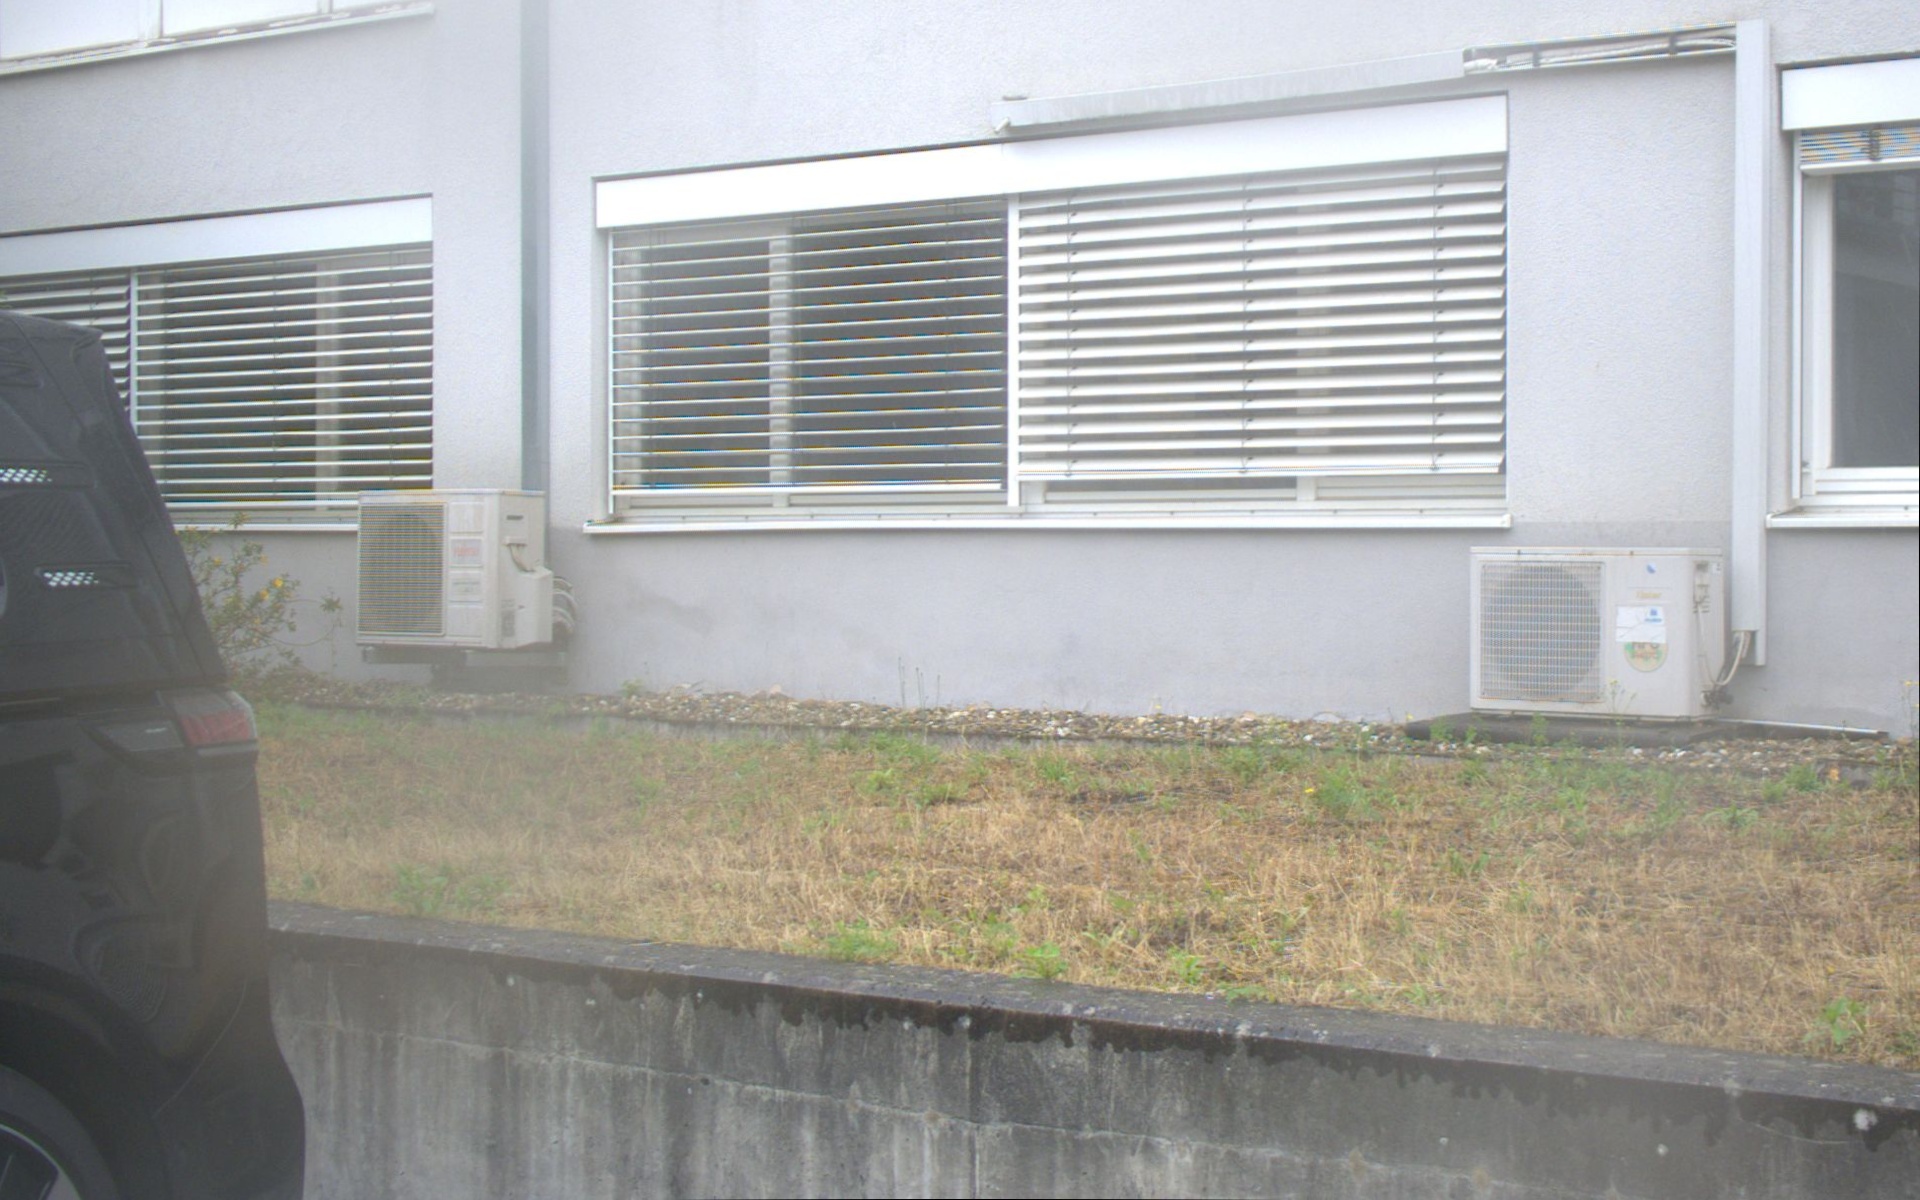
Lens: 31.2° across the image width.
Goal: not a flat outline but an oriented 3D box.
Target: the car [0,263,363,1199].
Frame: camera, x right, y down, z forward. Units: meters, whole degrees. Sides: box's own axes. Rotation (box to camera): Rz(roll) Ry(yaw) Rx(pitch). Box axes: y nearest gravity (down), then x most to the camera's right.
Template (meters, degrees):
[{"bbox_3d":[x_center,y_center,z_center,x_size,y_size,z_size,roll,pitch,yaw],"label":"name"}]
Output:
[{"bbox_3d":[-3.113,0.500,4.173,2.044,1.891,4.513,0,1,37],"label":"car"}]
